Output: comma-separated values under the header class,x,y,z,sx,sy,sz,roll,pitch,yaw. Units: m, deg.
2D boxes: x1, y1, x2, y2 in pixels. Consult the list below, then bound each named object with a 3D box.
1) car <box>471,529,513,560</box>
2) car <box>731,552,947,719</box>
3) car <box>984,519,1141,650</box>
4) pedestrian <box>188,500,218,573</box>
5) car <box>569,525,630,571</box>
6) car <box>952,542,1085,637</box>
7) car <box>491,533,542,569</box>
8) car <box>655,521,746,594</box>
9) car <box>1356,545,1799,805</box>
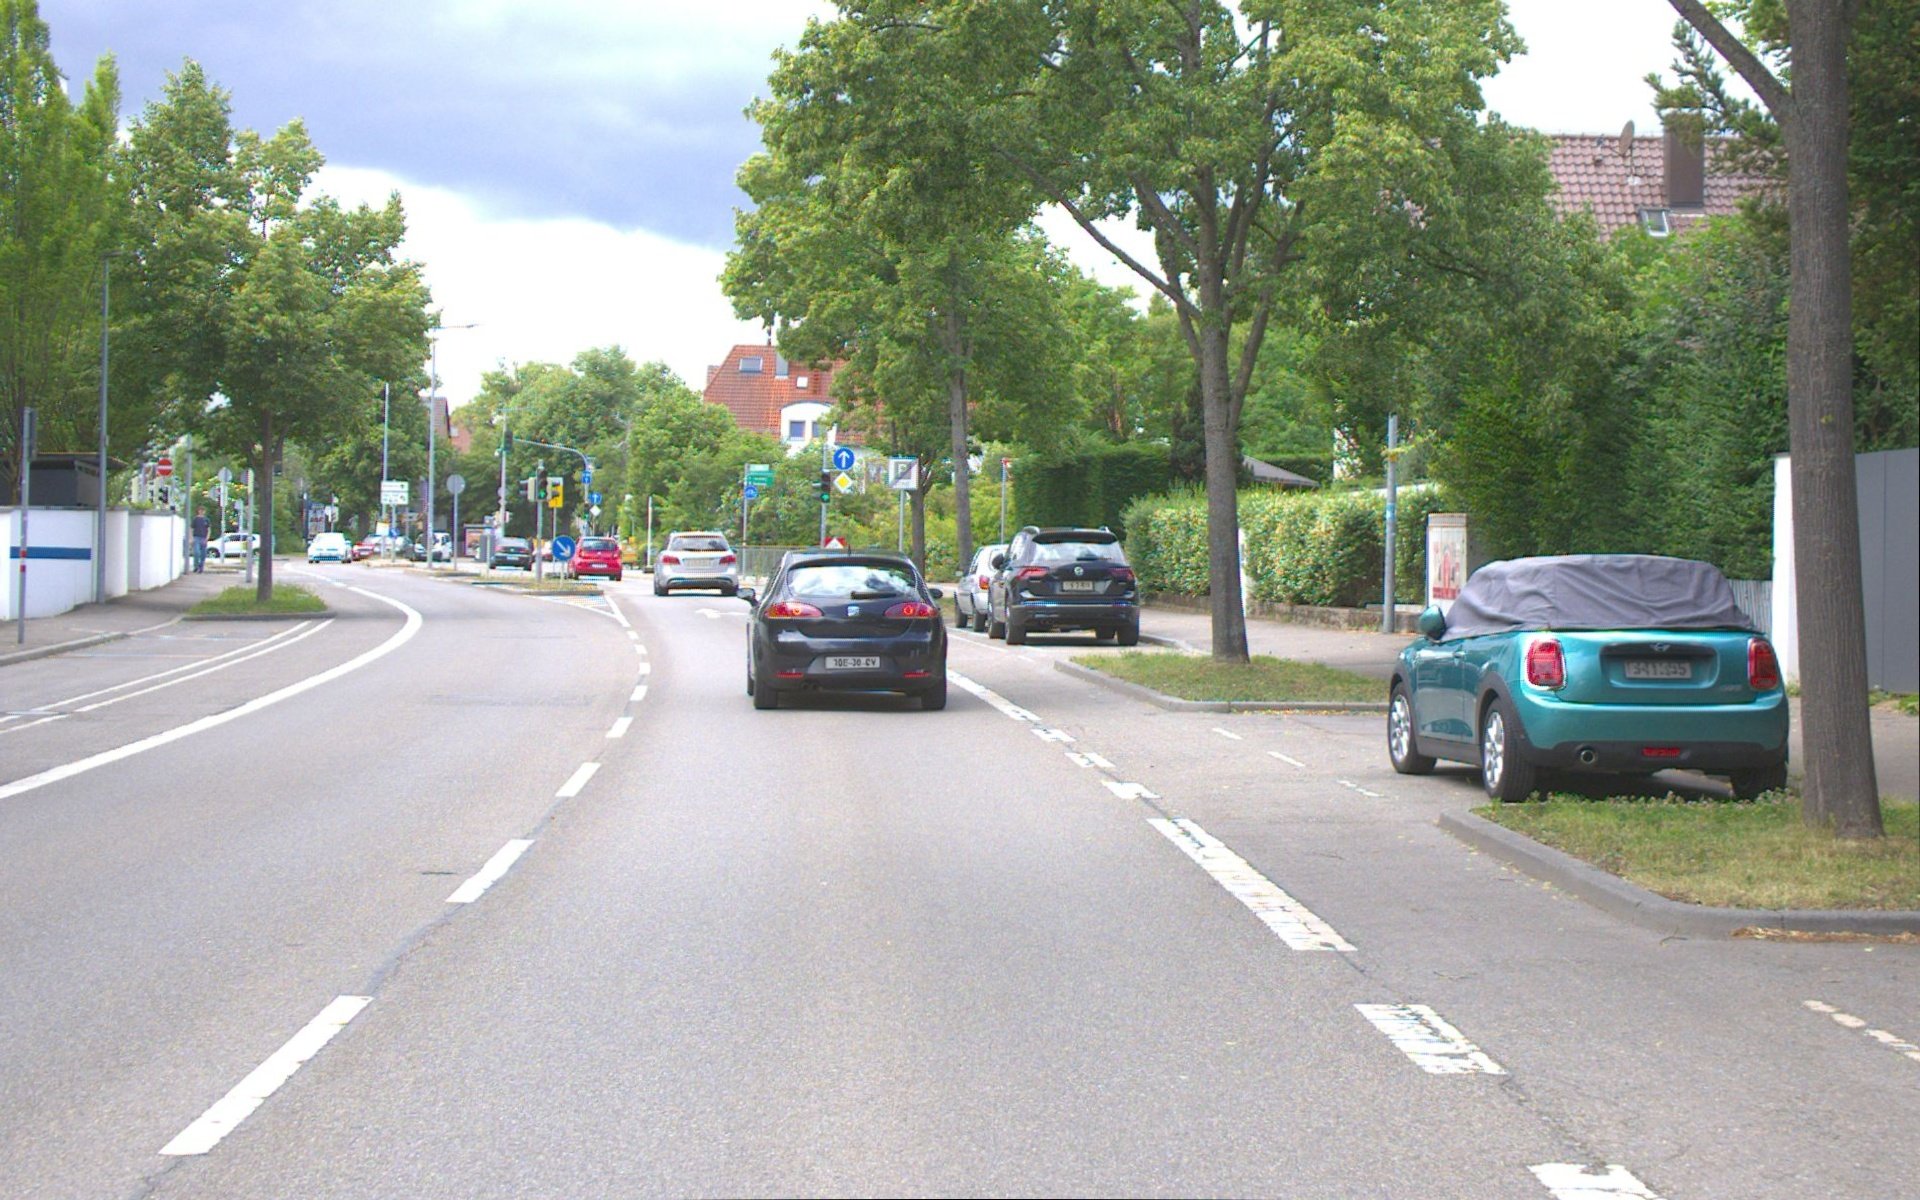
class,x,y,z,sx,sy,sz,roll,pitch,yaw
car,-26.371,-3.136,193.773,1.973,1.670,3.877,1,1,-3
car,-1.171,0.289,31.792,1.783,1.444,3.558,1,1,-5
car,1.410,-0.232,48.805,1.788,1.765,3.983,1,1,-5
pedestrian,-21.506,-1.807,97.706,0.752,2.047,0.725,1,0,-9
car,-12.138,-1.753,115.960,1.993,1.525,4.001,0,1,-6
car,0.900,-0.188,54.811,1.685,1.444,3.580,1,1,-6
car,-19.445,-2.140,150.895,1.993,1.503,4.001,1,0,-4
car,-5.967,-0.998,79.368,1.993,1.552,4.001,-1,2,-3
car,3.683,0.390,21.211,1.683,1.427,4.045,0,1,-5
